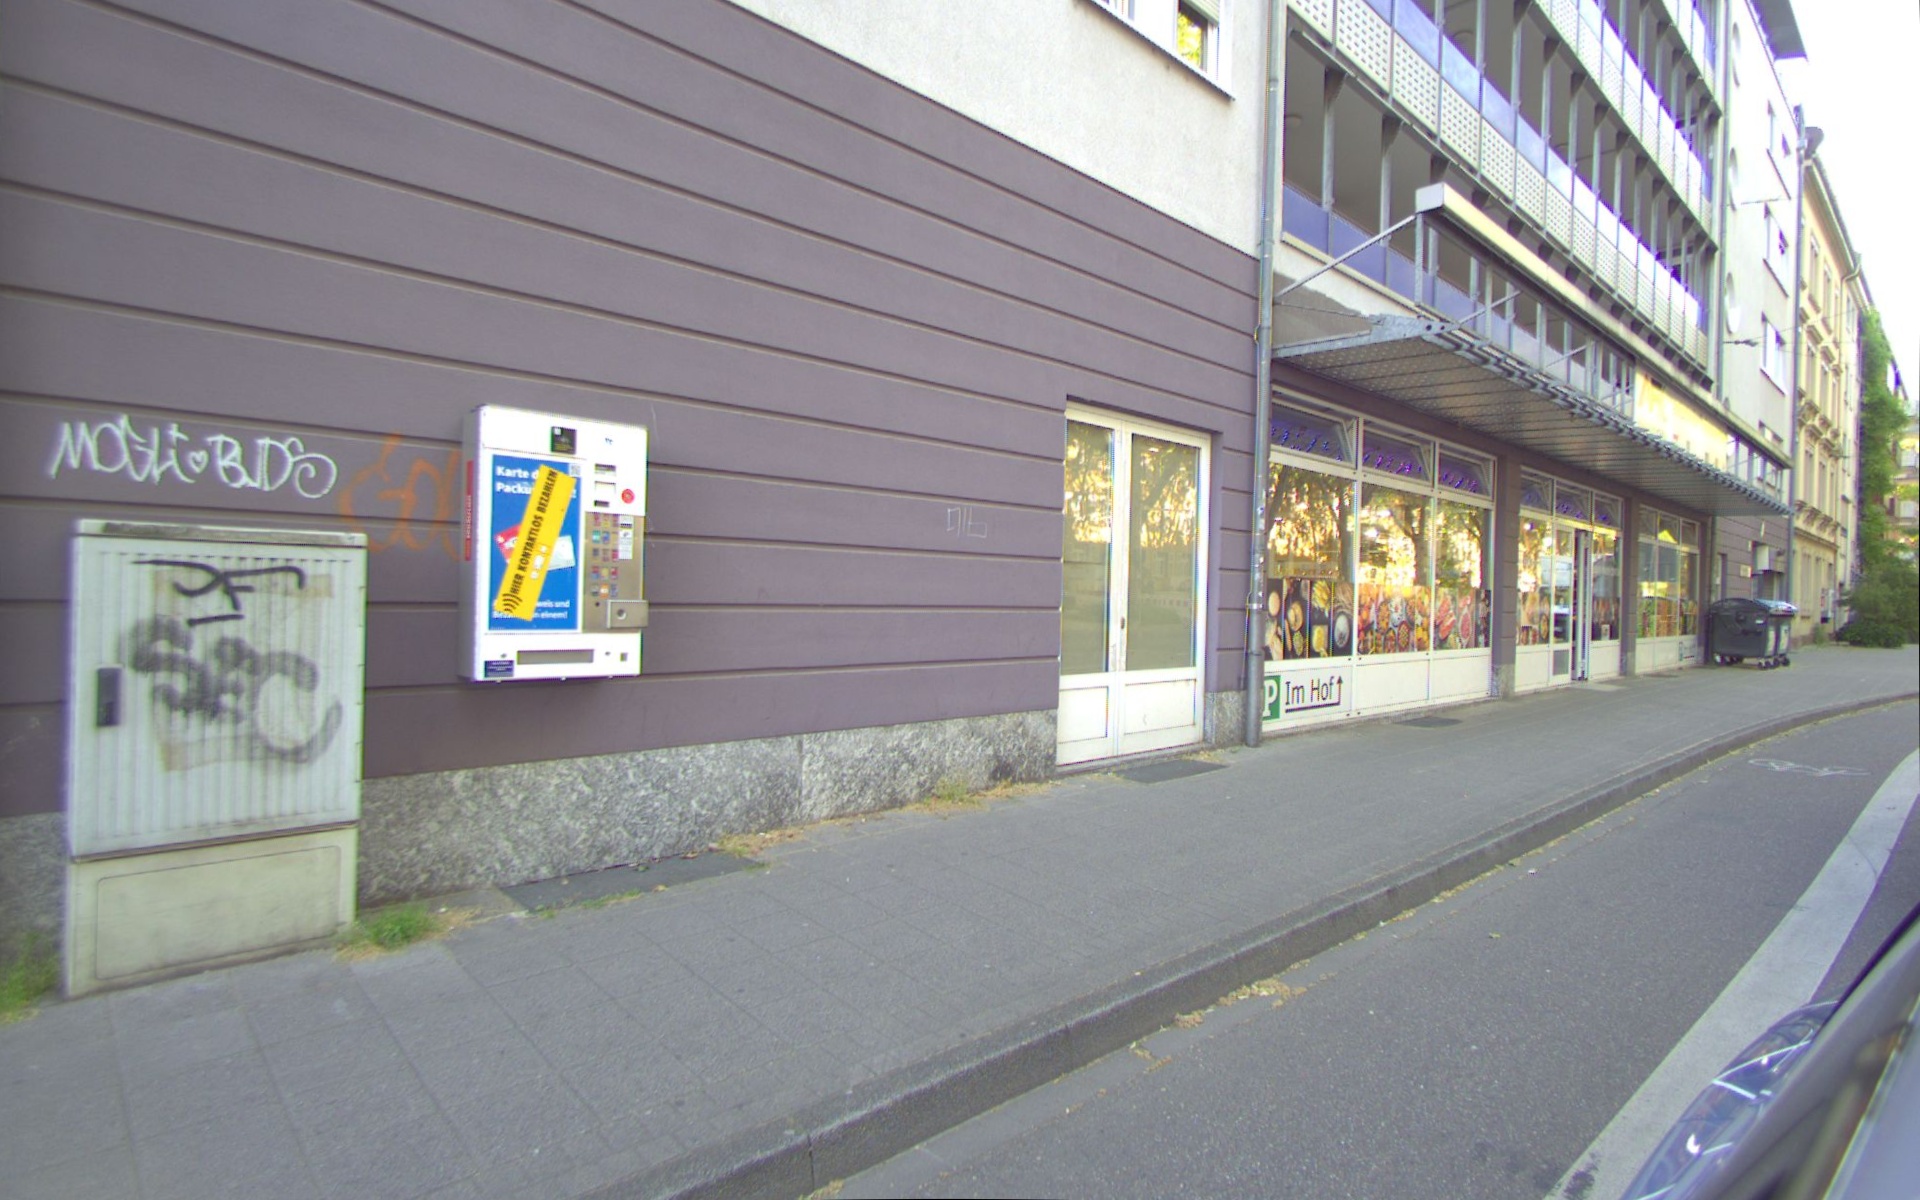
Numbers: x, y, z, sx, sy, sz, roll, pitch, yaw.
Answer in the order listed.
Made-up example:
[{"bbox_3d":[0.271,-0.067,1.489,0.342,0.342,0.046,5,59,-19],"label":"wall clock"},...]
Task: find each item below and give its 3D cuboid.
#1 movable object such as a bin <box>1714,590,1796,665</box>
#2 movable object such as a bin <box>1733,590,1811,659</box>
[{"bbox_3d":[16.301,0.543,20.760,0.923,1.444,1.158,1,1,-40],"label":"movable object such as a bin"},{"bbox_3d":[17.754,0.516,22.142,0.923,1.444,1.158,1,1,-40],"label":"movable object such as a bin"}]
